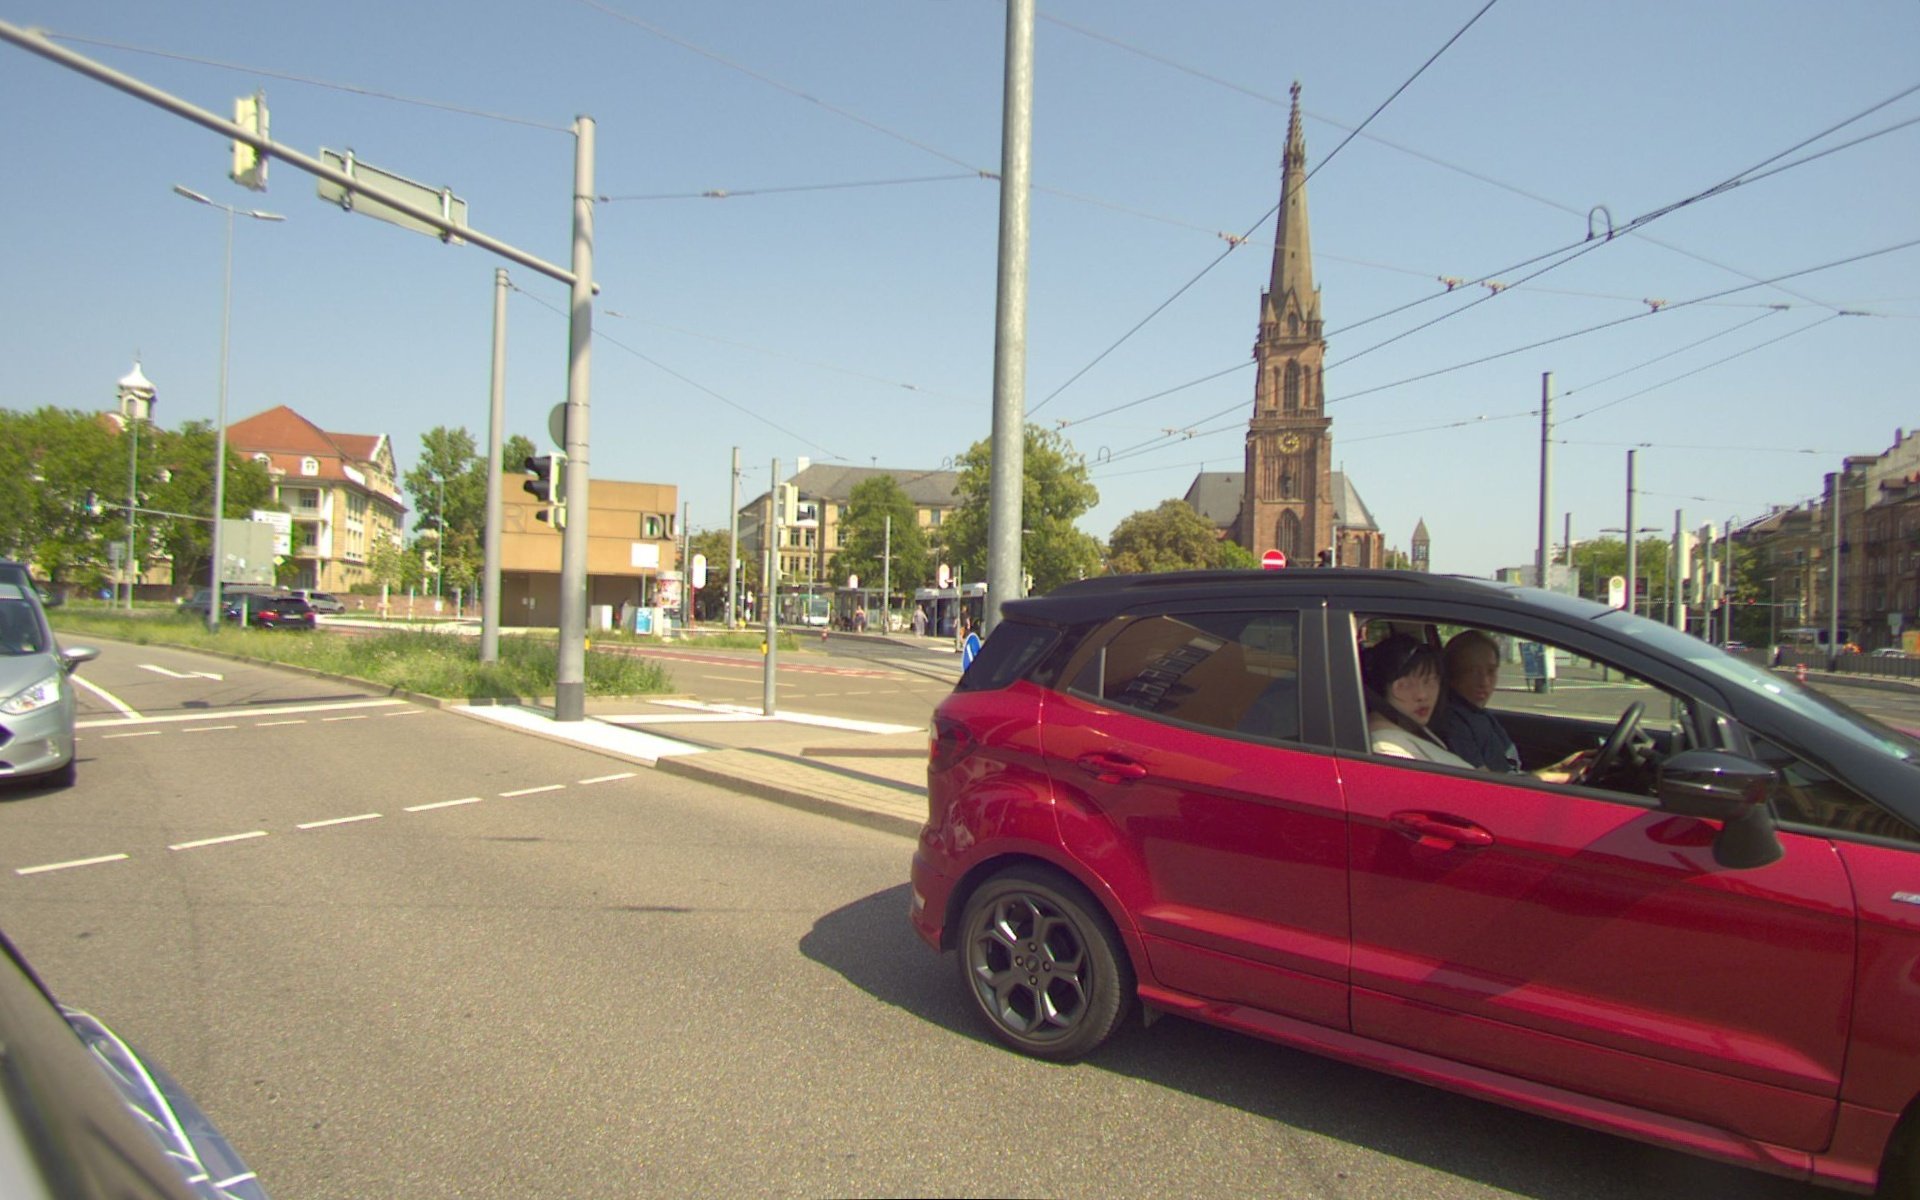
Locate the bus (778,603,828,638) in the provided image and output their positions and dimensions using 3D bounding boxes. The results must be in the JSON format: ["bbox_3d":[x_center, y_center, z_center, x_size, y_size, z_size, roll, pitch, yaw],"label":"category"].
[{"bbox_3d":[-15.517,1.883,99.194,2.498,3.054,12.476,1,0,-20],"label":"bus"}]

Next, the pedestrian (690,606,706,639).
[{"bbox_3d":[-13.272,1.113,51.225,0.510,1.658,0.566,1,0,29],"label":"pedestrian"}]

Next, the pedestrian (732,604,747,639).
[{"bbox_3d":[-8.722,0.854,40.037,0.455,1.385,0.350,3,-2,-45],"label":"pedestrian"}]

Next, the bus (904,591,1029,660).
[{"bbox_3d":[0.029,1.331,56.460,2.631,3.356,12.799,2,-1,-20],"label":"bus"}]

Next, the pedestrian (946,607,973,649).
[{"bbox_3d":[-0.031,1.237,44.899,0.782,1.793,0.950,1,-3,29],"label":"pedestrian"}]

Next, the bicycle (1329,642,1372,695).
[{"bbox_3d":[8.555,1.471,22.120,0.612,1.077,1.894,1,-1,29],"label":"bicycle"}]

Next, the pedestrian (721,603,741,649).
[{"bbox_3d":[-9.143,1.050,40.409,0.552,1.830,0.561,3,-2,-45],"label":"pedestrian"}]

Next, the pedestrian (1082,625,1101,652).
[{"bbox_3d":[7.622,2.223,58.671,0.771,1.560,0.681,3,-2,-24],"label":"pedestrian"}]

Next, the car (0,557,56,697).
[{"bbox_3d":[-15.374,0.345,15.404,4.885,1.945,1.874,0,-2,42],"label":"car"}]

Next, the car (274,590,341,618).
[{"bbox_3d":[-49.303,0.298,76.532,1.980,1.984,3.983,1,-1,13],"label":"car"}]

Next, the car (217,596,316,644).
[{"bbox_3d":[-23.615,0.656,34.421,3.699,1.532,1.659,0,-2,37],"label":"car"}]

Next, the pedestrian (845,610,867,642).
[{"bbox_3d":[-6.112,1.534,59.509,0.956,1.793,0.777,1,-3,32],"label":"pedestrian"}]

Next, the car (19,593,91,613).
[{"bbox_3d":[-50.463,0.179,56.408,4.318,1.034,1.829,1,-2,32],"label":"car"}]

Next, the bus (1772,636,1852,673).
[{"bbox_3d":[76.652,4.852,91.298,2.528,3.055,12.325,1,-2,26],"label":"bus"}]

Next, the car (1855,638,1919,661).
[{"bbox_3d":[62.513,3.293,67.774,1.986,1.298,5.507,1,0,21],"label":"car"}]

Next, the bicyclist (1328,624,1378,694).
[{"bbox_3d":[8.586,1.275,22.115,0.874,1.470,0.970,1,-2,30],"label":"bicyclist"}]

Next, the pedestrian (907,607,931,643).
[{"bbox_3d":[-2.051,1.256,50.714,0.782,1.793,0.950,1,-3,29],"label":"pedestrian"}]

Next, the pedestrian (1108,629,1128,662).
[{"bbox_3d":[8.649,2.483,55.390,0.771,1.741,0.681,2,-2,-24],"label":"pedestrian"}]

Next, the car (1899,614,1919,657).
[{"bbox_3d":[66.227,2.438,68.745,2.297,2.910,5.542,-1,-2,30],"label":"car"}]

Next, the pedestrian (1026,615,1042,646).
[{"bbox_3d":[3.719,1.526,51.002,0.567,1.540,0.602,3,-3,-18],"label":"pedestrian"}]

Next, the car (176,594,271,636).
[{"bbox_3d":[-31.002,0.623,42.560,4.648,1.665,1.879,0,-2,37],"label":"car"}]

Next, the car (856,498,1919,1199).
[{"bbox_3d":[1.783,0.644,3.111,4.076,1.630,1.745,1,-2,38],"label":"car"}]

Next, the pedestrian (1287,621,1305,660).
[{"bbox_3d":[14.859,1.769,44.805,0.567,1.671,0.799,1,0,8],"label":"pedestrian"}]

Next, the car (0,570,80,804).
[{"bbox_3d":[-8.385,0.581,8.299,1.667,1.607,4.367,3,-2,-42],"label":"car"}]
